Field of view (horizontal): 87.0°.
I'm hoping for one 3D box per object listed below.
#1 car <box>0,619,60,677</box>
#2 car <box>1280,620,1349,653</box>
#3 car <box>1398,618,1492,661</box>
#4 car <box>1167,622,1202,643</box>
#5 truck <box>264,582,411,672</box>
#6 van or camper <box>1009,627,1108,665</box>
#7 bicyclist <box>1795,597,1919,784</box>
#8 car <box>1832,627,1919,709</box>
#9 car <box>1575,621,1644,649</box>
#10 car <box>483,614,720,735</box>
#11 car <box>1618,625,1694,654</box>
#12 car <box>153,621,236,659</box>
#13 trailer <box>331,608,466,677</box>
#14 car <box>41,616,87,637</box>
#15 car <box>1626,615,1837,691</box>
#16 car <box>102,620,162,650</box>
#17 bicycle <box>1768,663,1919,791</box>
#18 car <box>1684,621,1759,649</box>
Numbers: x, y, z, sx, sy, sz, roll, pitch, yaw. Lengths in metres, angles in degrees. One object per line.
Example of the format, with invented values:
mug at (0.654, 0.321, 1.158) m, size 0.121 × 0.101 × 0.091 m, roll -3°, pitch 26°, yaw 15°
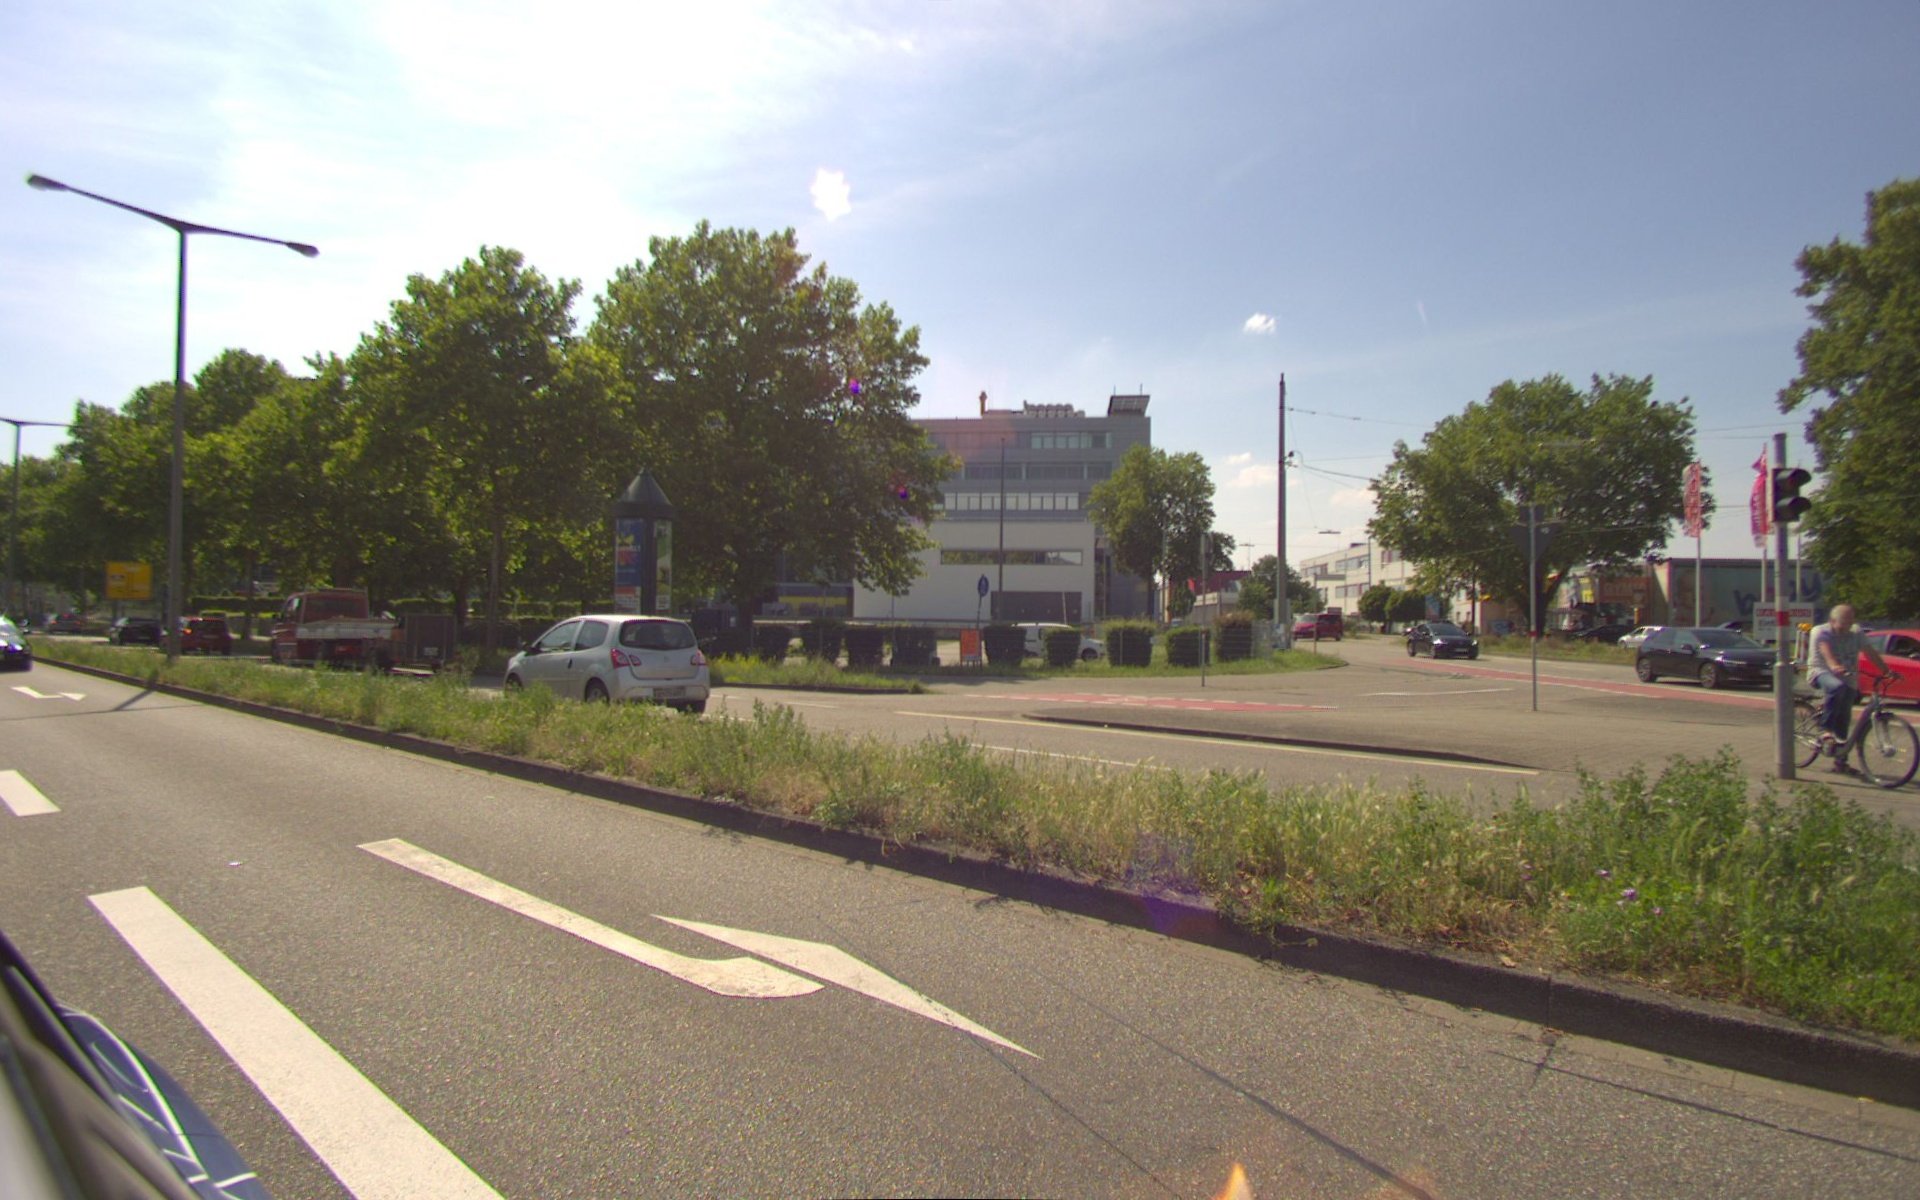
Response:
car at (-24.693, 1.208, 25.924) m, size 1.702 × 1.372 × 4.079 m, roll 0°, pitch 0°, yaw -31°
car at (25.240, 2.568, 72.065) m, size 4.957 × 2.295 × 2.157 m, roll 1°, pitch -2°, yaw -35°
car at (20.363, 1.638, 42.717) m, size 1.972 × 1.712 × 4.000 m, roll 0°, pitch -2°, yaw -1°
car at (18.506, 2.688, 83.506) m, size 1.972 × 1.712 × 4.000 m, roll 0°, pitch -2°, yaw -1°
truck at (-19.302, 0.821, 31.174) m, size 7.130 × 2.494 × 2.116 m, roll -1°, pitch -2°, yaw 44°
van or camper at (4.511, 2.118, 46.760) m, size 4.453 × 1.705 × 1.998 m, roll 0°, pitch -1°, yaw 4°
bicyclist at (9.049, 0.877, 10.179) m, size 0.698 × 1.802 × 0.765 m, roll 0°, pitch -2°, yaw 12°
car at (18.009, 1.222, 17.952) m, size 1.824 × 1.460 × 3.993 m, roll 0°, pitch -2°, yaw 5°
car at (48.260, 2.593, 75.239) m, size 3.973 × 2.029 × 1.985 m, roll 0°, pitch -2°, yaw 22°
car at (-5.274, 0.986, 14.688) m, size 3.734 × 1.525 × 1.632 m, roll -1°, pitch -2°, yaw 41°
car at (36.946, 2.076, 53.847) m, size 1.679 × 1.438 × 3.853 m, roll 0°, pitch -1°, yaw 6°
car at (-30.728, 1.627, 40.596) m, size 3.763 × 1.445 × 1.829 m, roll -2°, pitch -4°, yaw 40°
trailer at (-15.219, 1.104, 27.380) m, size 3.990 × 1.729 × 2.039 m, roll -1°, pitch -2°, yaw 43°
car at (-63.708, 1.881, 71.937) m, size 4.219 × 1.433 × 1.820 m, roll -1°, pitch -4°, yaw 41°
car at (18.737, 1.247, 24.850) m, size 1.971 × 1.712 × 4.001 m, roll 0°, pitch -2°, yaw -2°
car at (-42.718, 1.798, 52.203) m, size 3.894 × 1.433 × 1.819 m, roll 0°, pitch -3°, yaw 42°
bicycle at (9.058, 1.212, 10.173) m, size 0.520 × 1.072 × 2.157 m, roll 0°, pitch -1°, yaw 11°
car at (56.133, 2.542, 74.682) m, size 3.974 × 2.029 × 1.985 m, roll -1°, pitch -2°, yaw 23°
